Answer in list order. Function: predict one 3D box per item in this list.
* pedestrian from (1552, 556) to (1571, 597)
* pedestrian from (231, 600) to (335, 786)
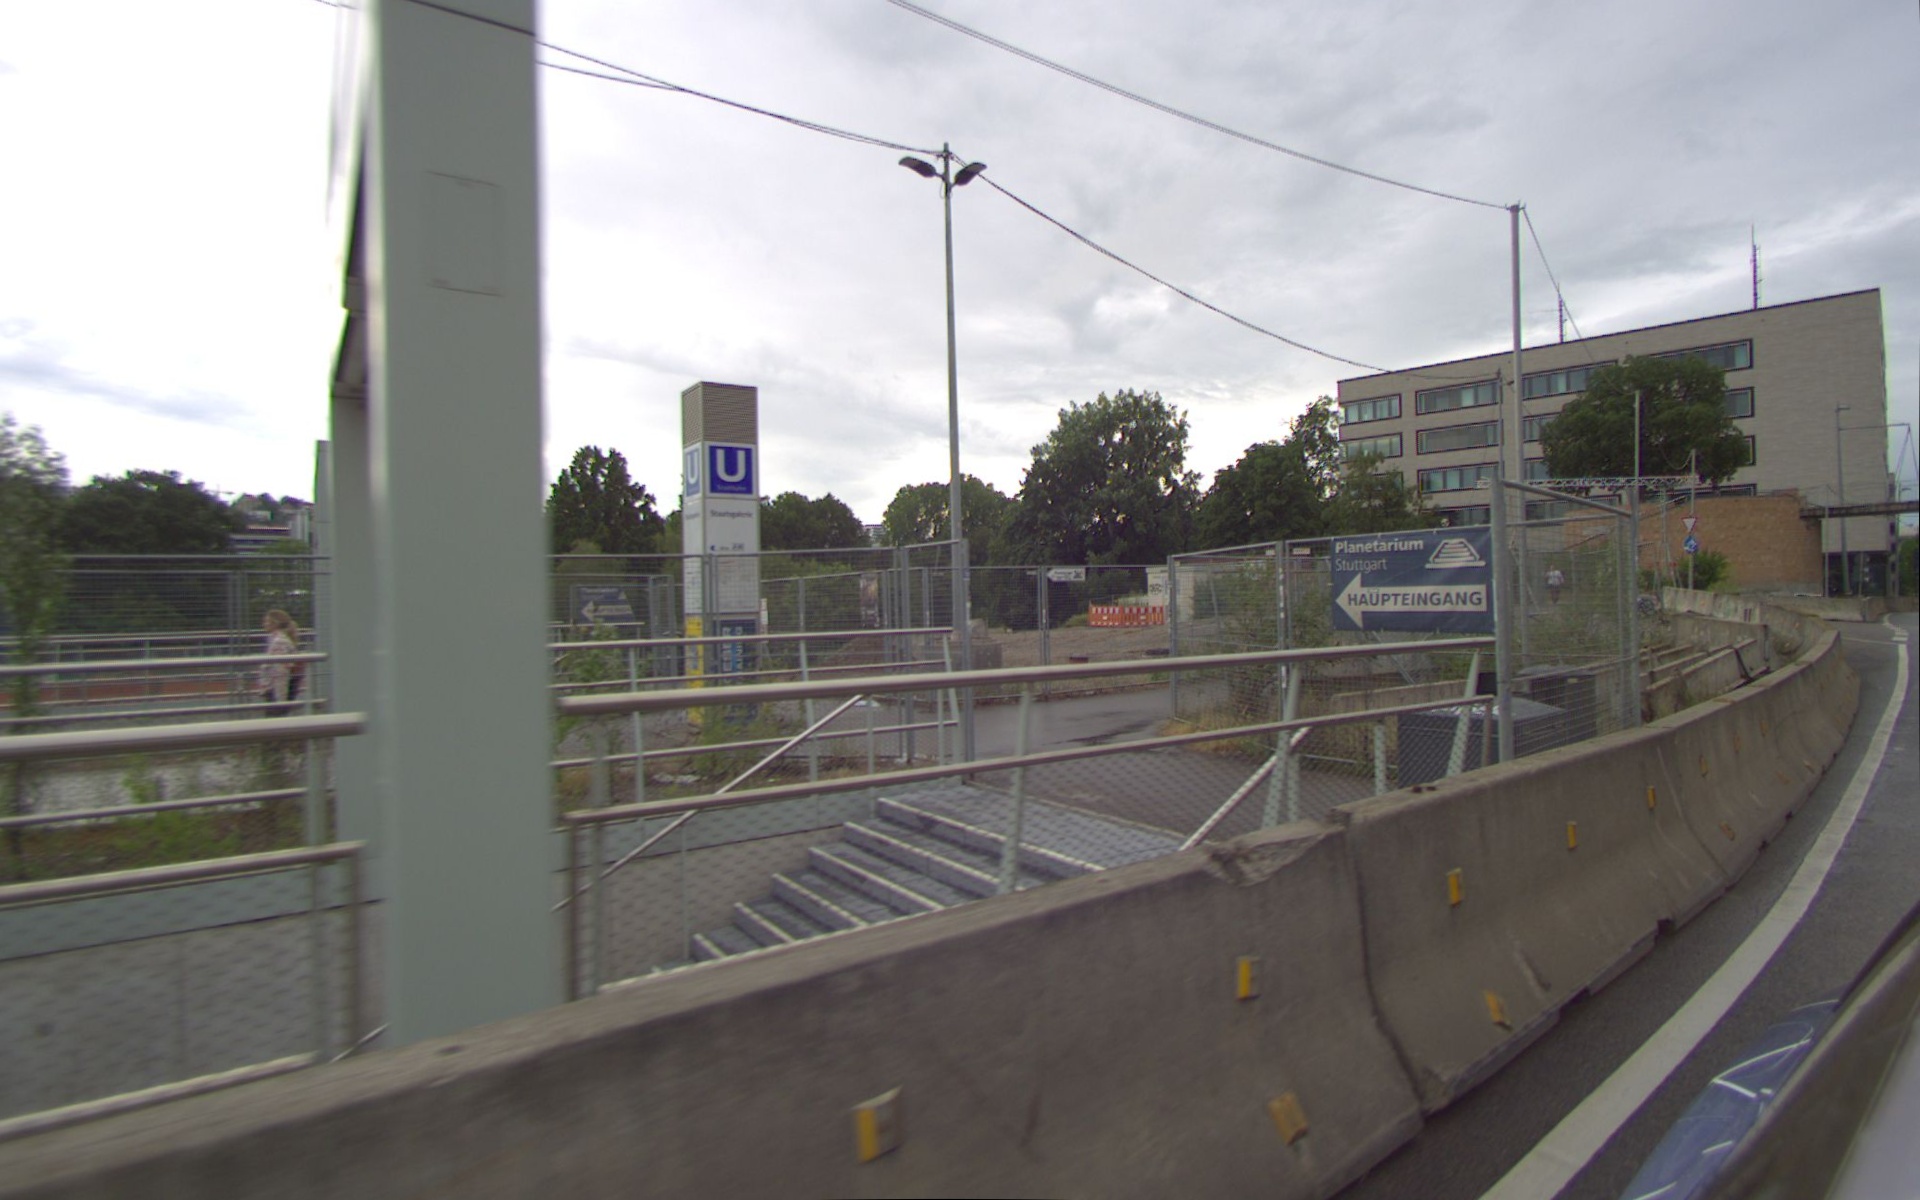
[{"bbox_3d":[26.644,-1.052,44.846,0.685,1.800,0.808,0,1,27],"label":"pedestrian"},{"bbox_3d":[-6.924,0.909,10.386,0.799,1.800,0.693,-1,1,-28],"label":"pedestrian"}]
